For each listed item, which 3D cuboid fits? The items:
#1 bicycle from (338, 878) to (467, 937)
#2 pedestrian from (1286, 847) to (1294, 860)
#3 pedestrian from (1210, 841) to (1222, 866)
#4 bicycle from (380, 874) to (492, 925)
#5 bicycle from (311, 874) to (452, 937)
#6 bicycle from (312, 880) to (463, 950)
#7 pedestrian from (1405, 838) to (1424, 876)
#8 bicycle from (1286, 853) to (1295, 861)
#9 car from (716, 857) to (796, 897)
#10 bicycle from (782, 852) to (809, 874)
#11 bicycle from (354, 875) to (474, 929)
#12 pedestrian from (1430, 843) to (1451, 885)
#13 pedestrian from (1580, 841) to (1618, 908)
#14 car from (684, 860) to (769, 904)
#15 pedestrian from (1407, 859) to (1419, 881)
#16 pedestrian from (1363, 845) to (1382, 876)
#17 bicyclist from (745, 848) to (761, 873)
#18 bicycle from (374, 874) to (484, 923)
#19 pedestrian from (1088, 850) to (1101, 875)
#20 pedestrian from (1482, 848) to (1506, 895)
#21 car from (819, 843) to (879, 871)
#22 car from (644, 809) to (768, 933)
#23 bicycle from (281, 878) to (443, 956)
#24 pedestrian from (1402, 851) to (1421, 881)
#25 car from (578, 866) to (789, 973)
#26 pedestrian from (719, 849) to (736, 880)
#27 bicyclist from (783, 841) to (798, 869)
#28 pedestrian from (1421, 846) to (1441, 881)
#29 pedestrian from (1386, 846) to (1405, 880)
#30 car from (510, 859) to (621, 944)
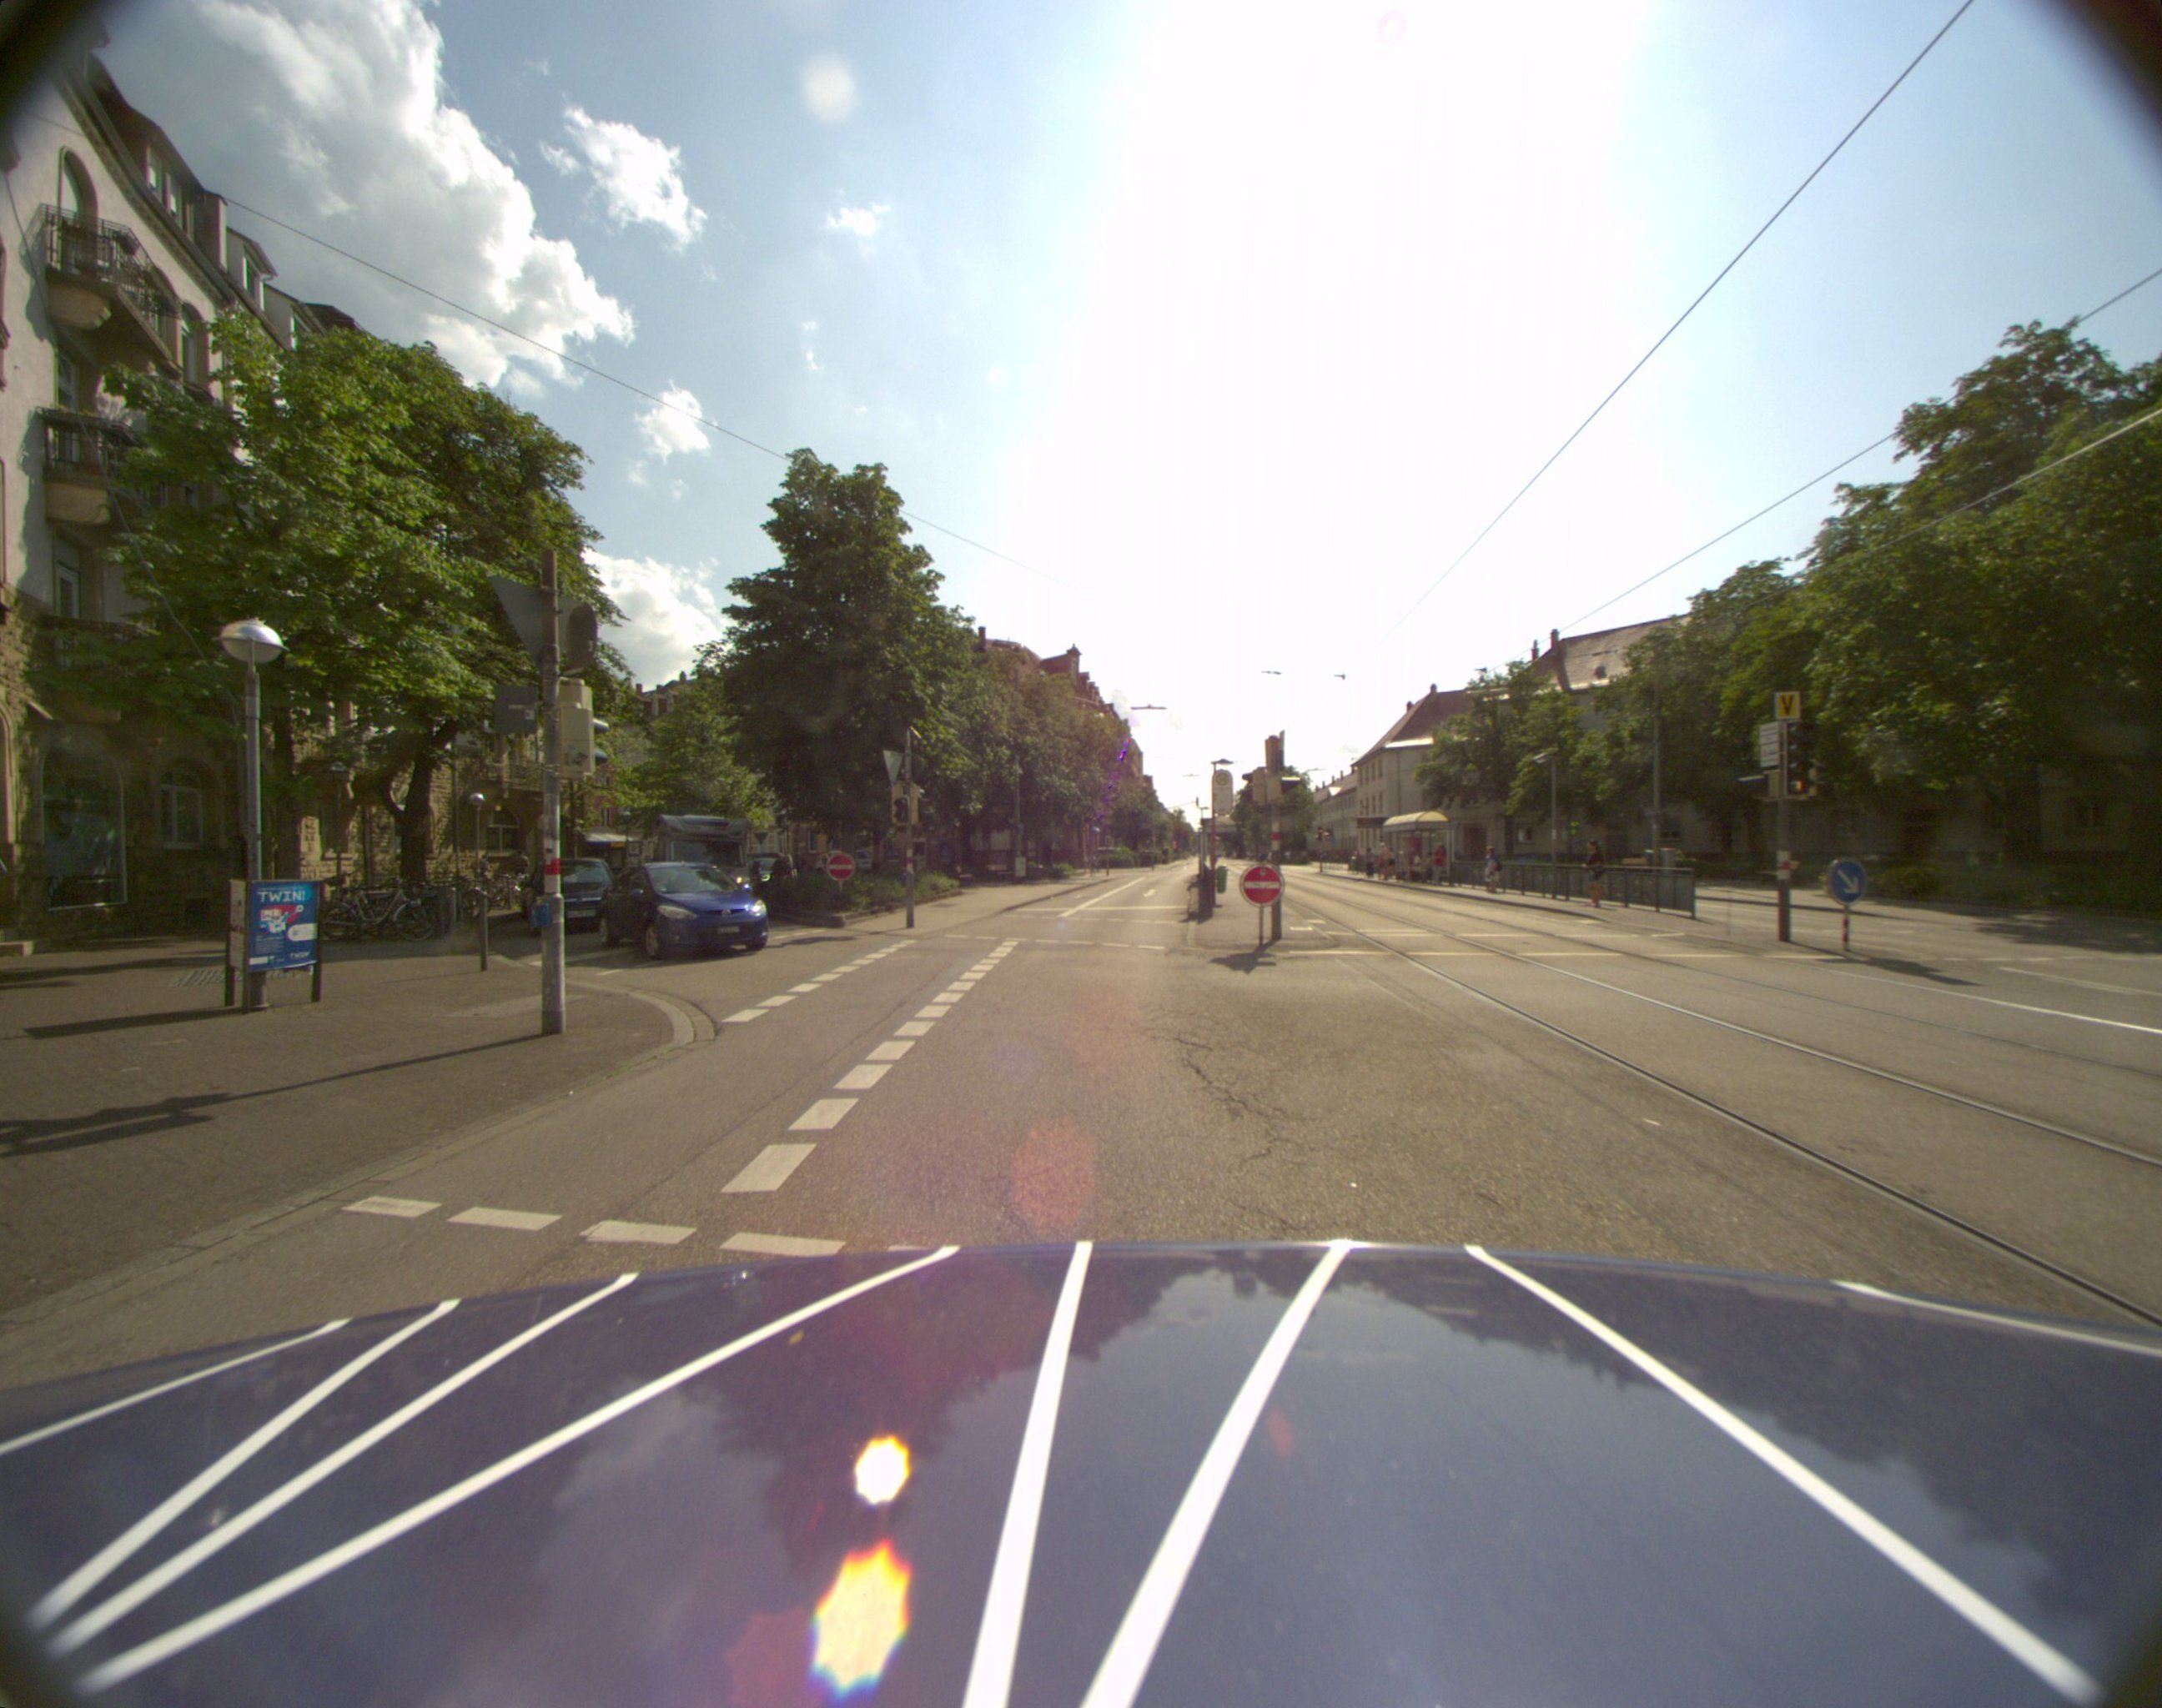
[{"bbox_3d":[-14.341,1.099,16.100,0.586,1.109,1.977,-1,-1,43],"label":"bicycle"},{"bbox_3d":[24.102,-0.042,87.589,0.805,1.465,0.807,0,1,4],"label":"pedestrian"},{"bbox_3d":[8.404,-0.035,47.296,0.701,1.524,0.557,-2,1,8],"label":"pedestrian"},{"bbox_3d":[-15.452,1.060,18.238,0.586,1.109,1.977,-1,-1,43],"label":"bicycle"},{"bbox_3d":[-13.607,0.974,14.838,0.586,1.109,1.977,-1,-1,43],"label":"bicycle"},{"bbox_3d":[-12.592,1.073,13.847,0.586,1.133,1.977,-1,-1,43],"label":"bicycle"},{"bbox_3d":[14.903,0.124,33.933,0.498,1.660,0.678,2,2,3],"label":"pedestrian"},{"bbox_3d":[24.223,0.352,87.926,0.755,0.844,1.619,-1,0,4],"label":"bicycle"},{"bbox_3d":[-13.351,0.902,31.490,1.847,1.492,4.182,-1,1,-6],"label":"car"},{"bbox_3d":[-16.179,0.494,43.018,1.848,1.187,0.524,-2,1,39],"label":"bicycle"},{"bbox_3d":[-15.051,1.059,17.188,0.586,1.109,1.977,-1,-1,43],"label":"bicycle"},{"bbox_3d":[14.325,0.398,30.307,0.473,1.647,0.746,2,2,8],"label":"pedestrian"},{"bbox_3d":[12.021,0.473,17.643,0.537,1.533,0.517,0,-1,8],"label":"pedestrian"},{"bbox_3d":[-12.486,0.940,27.050,1.838,1.362,4.480,-1,0,-13],"label":"car"},{"bbox_3d":[14.901,0.718,34.109,0.340,0.925,0.346,2,2,2],"label":"pedestrian"},{"bbox_3d":[15.088,0.333,39.335,0.657,1.598,0.639,2,2,3],"label":"pedestrian"},{"bbox_3d":[-18.356,0.362,42.528,0.633,1.396,0.482,-2,1,7],"label":"bicyclist"},{"bbox_3d":[-15.922,1.062,18.608,0.586,1.109,1.977,-1,-1,43],"label":"bicycle"},{"bbox_3d":[0.935,0.596,51.914,0.706,1.644,0.534,-2,1,8],"label":"pedestrian"},{"bbox_3d":[13.323,0.556,24.527,0.428,1.496,0.704,1,2,8],"label":"pedestrian"},{"bbox_3d":[-17.451,0.208,57.184,4.305,1.975,1.841,0,2,31],"label":"car"},{"bbox_3d":[-10.286,0.399,20.464,2.396,2.778,6.659,-2,0,-31],"label":"car"},{"bbox_3d":[-12.313,1.036,13.073,0.586,1.202,1.977,-1,-1,43],"label":"bicycle"},{"bbox_3d":[14.816,0.540,34.057,0.604,1.329,0.406,2,2,3],"label":"pedestrian"},{"bbox_3d":[-6.683,0.940,12.595,3.988,1.411,1.896,0,1,44],"label":"car"},{"bbox_3d":[-19.602,0.585,42.169,0.560,1.690,0.534,-2,1,7],"label":"pedestrian"},{"bbox_3d":[-16.479,0.057,43.141,0.698,1.589,0.507,-2,-1,38],"label":"bicyclist"},{"bbox_3d":[14.548,0.381,31.579,0.530,1.449,0.692,2,2,7],"label":"pedestrian"},{"bbox_3d":[15.545,0.435,37.579,0.657,1.632,0.639,2,2,8],"label":"pedestrian"},{"bbox_3d":[-11.389,0.945,16.885,1.731,1.546,4.103,-4,2,-33],"label":"car"}]
